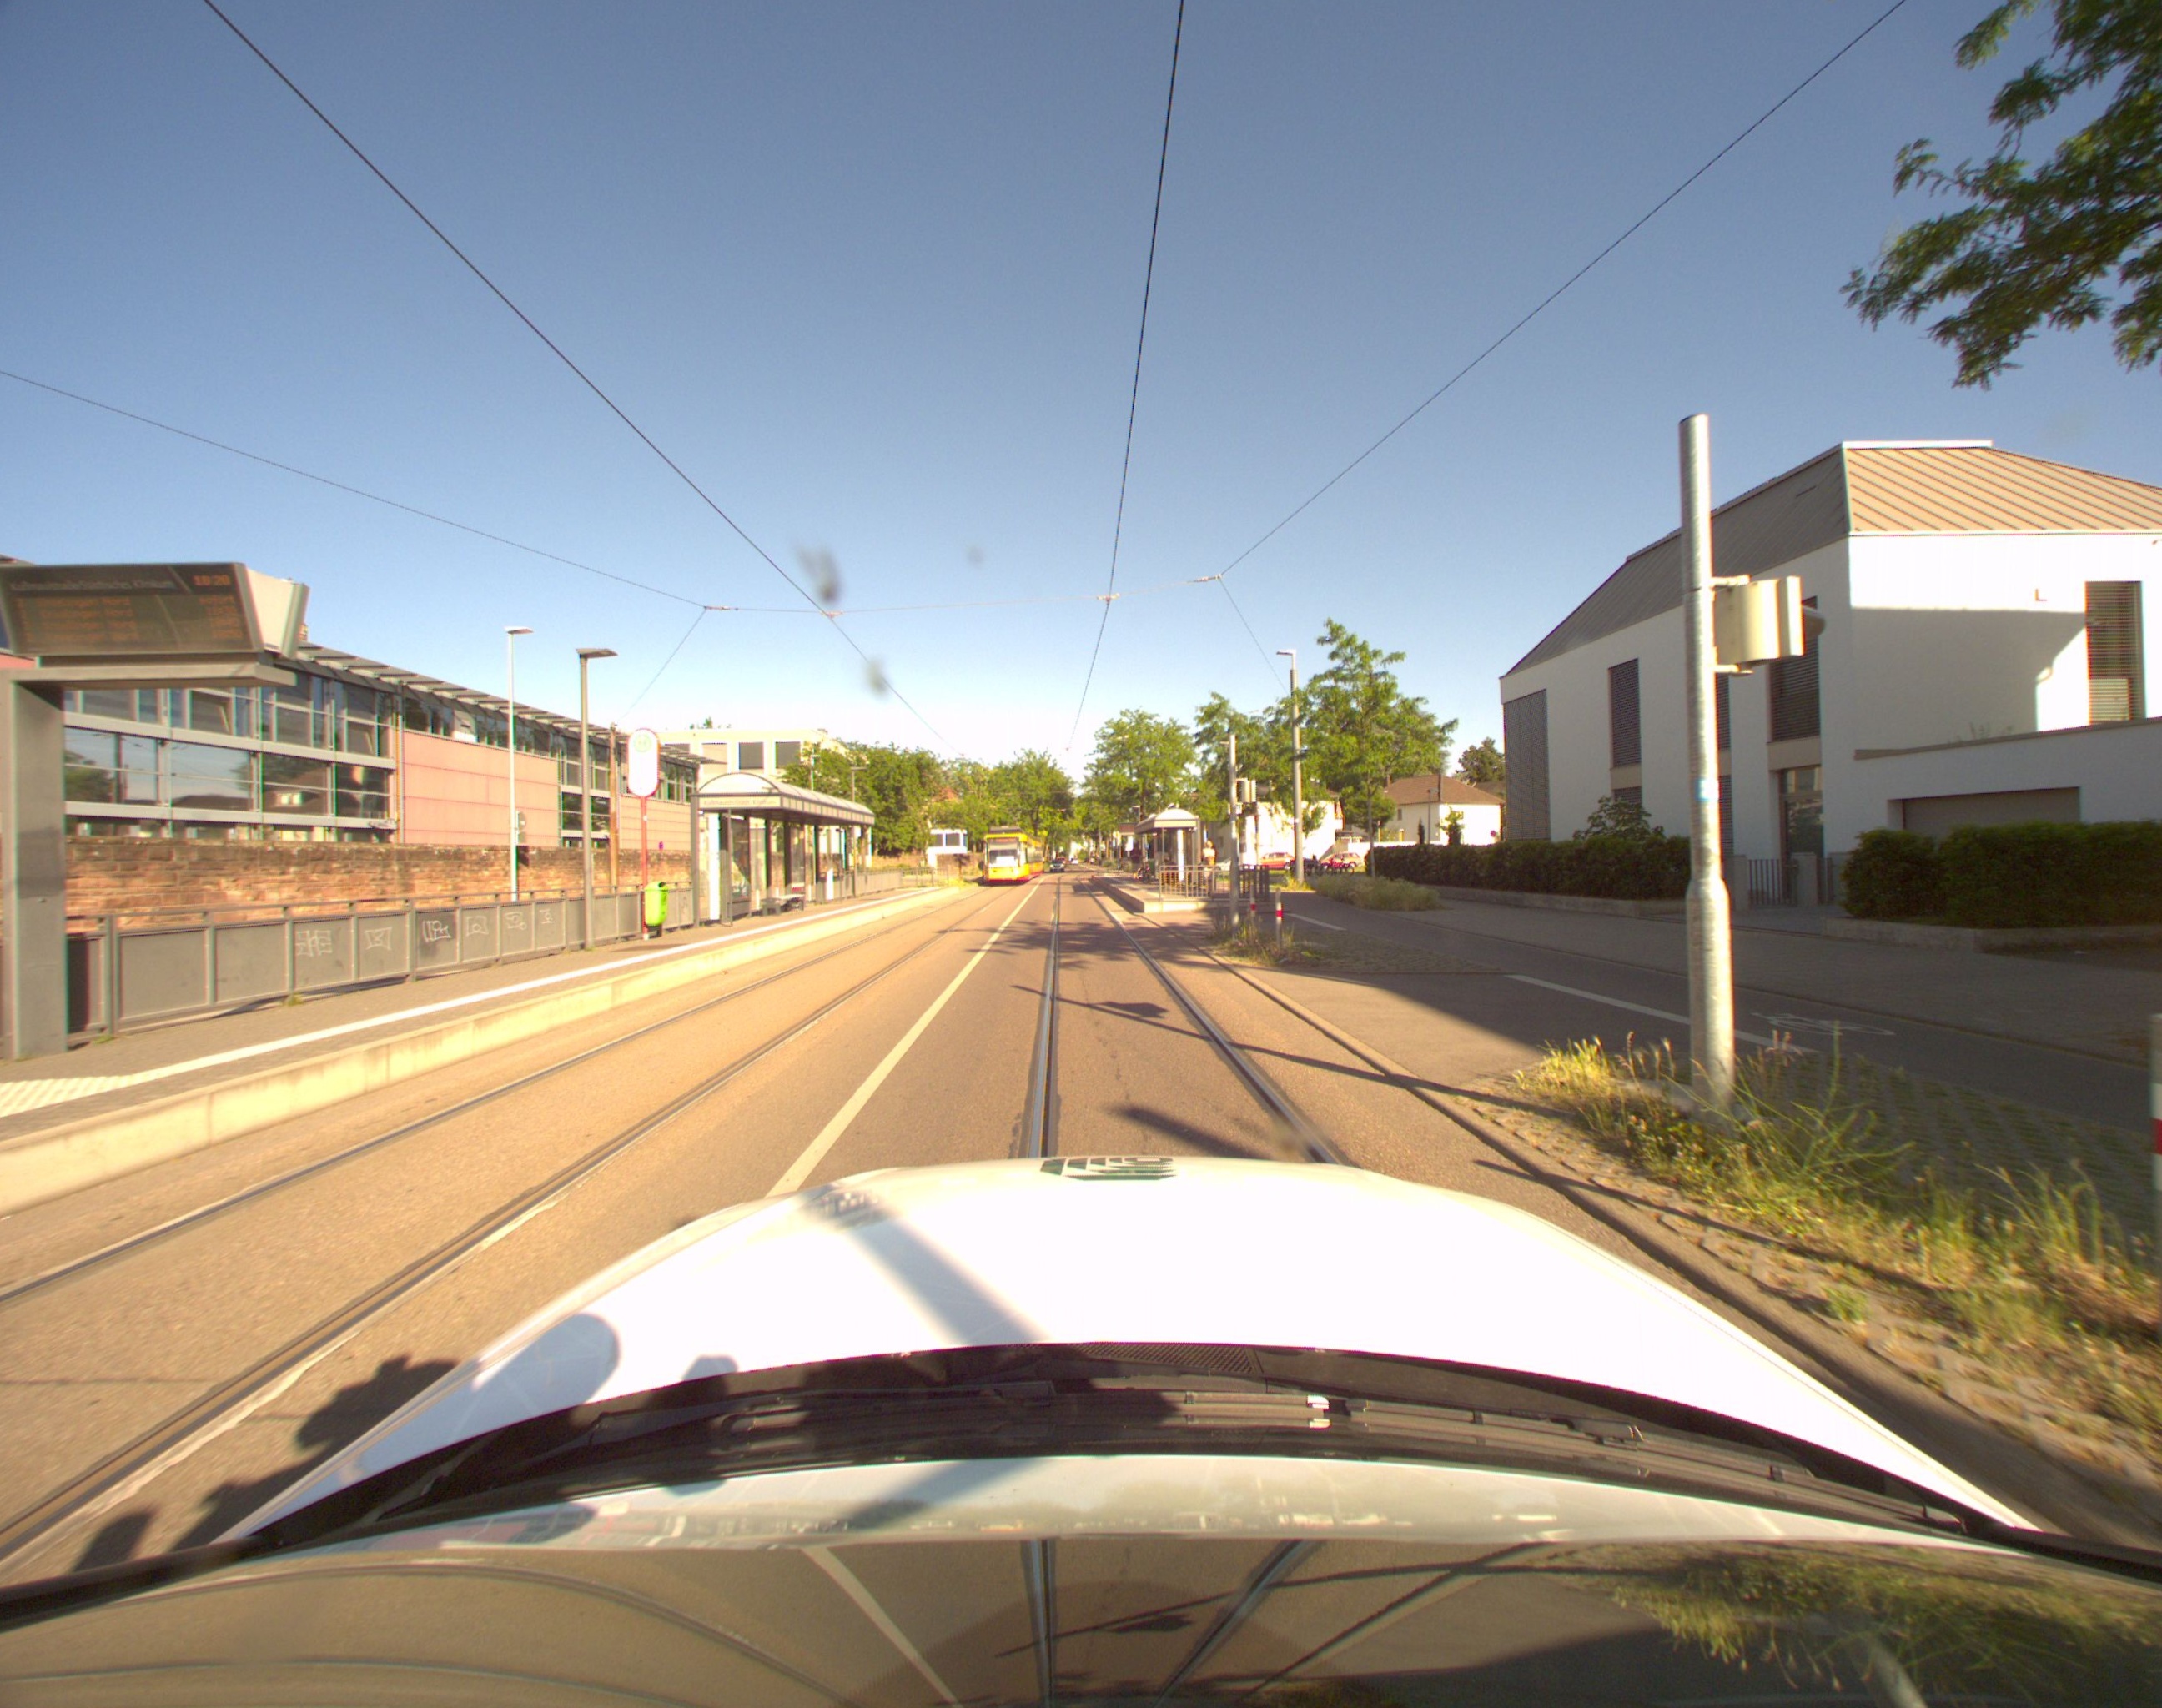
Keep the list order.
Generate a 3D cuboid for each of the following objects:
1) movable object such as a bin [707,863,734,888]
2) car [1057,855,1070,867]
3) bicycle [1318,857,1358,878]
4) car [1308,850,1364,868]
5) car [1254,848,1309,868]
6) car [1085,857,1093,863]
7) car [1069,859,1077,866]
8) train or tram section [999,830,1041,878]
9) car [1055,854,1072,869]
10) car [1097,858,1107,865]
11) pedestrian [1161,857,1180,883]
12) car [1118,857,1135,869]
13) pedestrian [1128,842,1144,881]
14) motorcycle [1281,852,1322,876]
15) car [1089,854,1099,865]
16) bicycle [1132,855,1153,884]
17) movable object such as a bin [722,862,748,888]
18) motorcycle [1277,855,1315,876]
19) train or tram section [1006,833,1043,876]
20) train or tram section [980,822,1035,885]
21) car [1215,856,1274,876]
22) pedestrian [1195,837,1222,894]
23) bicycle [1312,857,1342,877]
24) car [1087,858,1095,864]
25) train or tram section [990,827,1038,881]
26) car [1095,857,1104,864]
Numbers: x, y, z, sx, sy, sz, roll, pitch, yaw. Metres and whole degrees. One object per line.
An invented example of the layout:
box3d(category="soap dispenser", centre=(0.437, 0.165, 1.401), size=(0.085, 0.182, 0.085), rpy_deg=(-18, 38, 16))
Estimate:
box3d(category="movable object such as a bin", centre=(-18.983, 1.107, 42.890), size=(0.879, 1.285, 1.308), rpy_deg=(-2, -1, -3))
box3d(category="car", centre=(-3.219, 1.262, 147.877), size=(1.990, 1.966, 4.926), rpy_deg=(-2, 0, -4))
box3d(category="bicycle", centre=(13.207, 0.684, 41.884), size=(1.896, 0.979, 0.490), rpy_deg=(-2, -1, -9))
box3d(category="car", centre=(21.878, 0.424, 69.847), size=(4.160, 1.508, 1.976), rpy_deg=(-1, 0, -8))
box3d(category="car", centre=(17.067, 0.344, 69.299), size=(4.153, 1.642, 1.980), rpy_deg=(-1, 0, -4))
box3d(category="car", centre=(2.524, 1.938, 253.168), size=(1.995, 1.675, 4.395), rpy_deg=(-4, 0, 2))
box3d(category="car", centre=(-1.846, 2.070, 196.854), size=(1.861, 1.675, 4.170), rpy_deg=(-2, 0, -1))
box3d(category="train or tram section", centre=(-4.612, 0.015, 62.538), size=(2.796, 3.460, 6.664), rpy_deg=(-1, 0, -1))
box3d(category="car", centre=(-2.111, 0.906, 99.661), size=(1.757, 1.663, 4.214), rpy_deg=(-2, 0, 3))
box3d(category="car", centre=(4.490, 1.537, 172.459), size=(1.780, 1.448, 4.296), rpy_deg=(-4, 0, -3))
box3d(category="pedestrian", centre=(3.868, 0.691, 35.082), size=(0.736, 1.117, 0.658), rpy_deg=(0, 0, -2))
box3d(category="car", centre=(5.982, 1.168, 107.459), size=(1.744, 1.495, 4.440), rpy_deg=(-2, 0, -2))
box3d(category="pedestrian", centre=(2.593, 0.350, 38.677), size=(0.708, 1.853, 0.729), rpy_deg=(0, -1, 0))
box3d(category="motorcycle", centre=(12.653, 0.574, 46.788), size=(2.076, 1.274, 0.859), rpy_deg=(-2, -1, -8))
box3d(category="car", centre=(3.329, 1.285, 203.331), size=(2.239, 2.654, 5.581), rpy_deg=(-2, 0, -2))
box3d(category="bicycle", centre=(2.737, 0.676, 36.285), size=(0.619, 1.229, 1.963), rpy_deg=(-1, 0, -5))
box3d(category="movable object such as a bin", centre=(-19.633, 1.197, 46.244), size=(0.879, 1.447, 1.308), rpy_deg=(-2, -1, -3))
box3d(category="motorcycle", centre=(12.764, 0.660, 48.397), size=(1.997, 1.158, 0.859), rpy_deg=(-2, -1, -8))
box3d(category="train or tram section", centre=(-4.724, 0.030, 69.215), size=(2.796, 3.460, 6.664), rpy_deg=(-1, 0, -1))
box3d(category="train or tram section", centre=(-4.342, -0.021, 49.160), size=(2.796, 3.460, 6.664), rpy_deg=(-1, 0, -1))
box3d(category="car", centre=(13.383, 1.008, 66.988), size=(4.579, 1.466, 1.985), rpy_deg=(-2, -2, 6))
box3d(category="pedestrian", centre=(3.846, 0.341, 24.572), size=(0.670, 1.704, 0.690), rpy_deg=(0, -1, -3))
box3d(category="bicycle", centre=(13.100, 0.689, 43.367), size=(1.469, 0.979, 0.415), rpy_deg=(-2, -1, -8))
box3d(category="car", centre=(2.994, 2.087, 235.731), size=(1.997, 1.675, 4.389), rpy_deg=(-3, 0, -2))
box3d(category="train or tram section", centre=(-4.477, -0.007, 55.849), size=(2.796, 3.460, 6.664), rpy_deg=(-1, 0, -1))
box3d(category="car", centre=(4.074, 1.472, 182.183), size=(1.623, 1.397, 3.643), rpy_deg=(-4, 0, -2))
